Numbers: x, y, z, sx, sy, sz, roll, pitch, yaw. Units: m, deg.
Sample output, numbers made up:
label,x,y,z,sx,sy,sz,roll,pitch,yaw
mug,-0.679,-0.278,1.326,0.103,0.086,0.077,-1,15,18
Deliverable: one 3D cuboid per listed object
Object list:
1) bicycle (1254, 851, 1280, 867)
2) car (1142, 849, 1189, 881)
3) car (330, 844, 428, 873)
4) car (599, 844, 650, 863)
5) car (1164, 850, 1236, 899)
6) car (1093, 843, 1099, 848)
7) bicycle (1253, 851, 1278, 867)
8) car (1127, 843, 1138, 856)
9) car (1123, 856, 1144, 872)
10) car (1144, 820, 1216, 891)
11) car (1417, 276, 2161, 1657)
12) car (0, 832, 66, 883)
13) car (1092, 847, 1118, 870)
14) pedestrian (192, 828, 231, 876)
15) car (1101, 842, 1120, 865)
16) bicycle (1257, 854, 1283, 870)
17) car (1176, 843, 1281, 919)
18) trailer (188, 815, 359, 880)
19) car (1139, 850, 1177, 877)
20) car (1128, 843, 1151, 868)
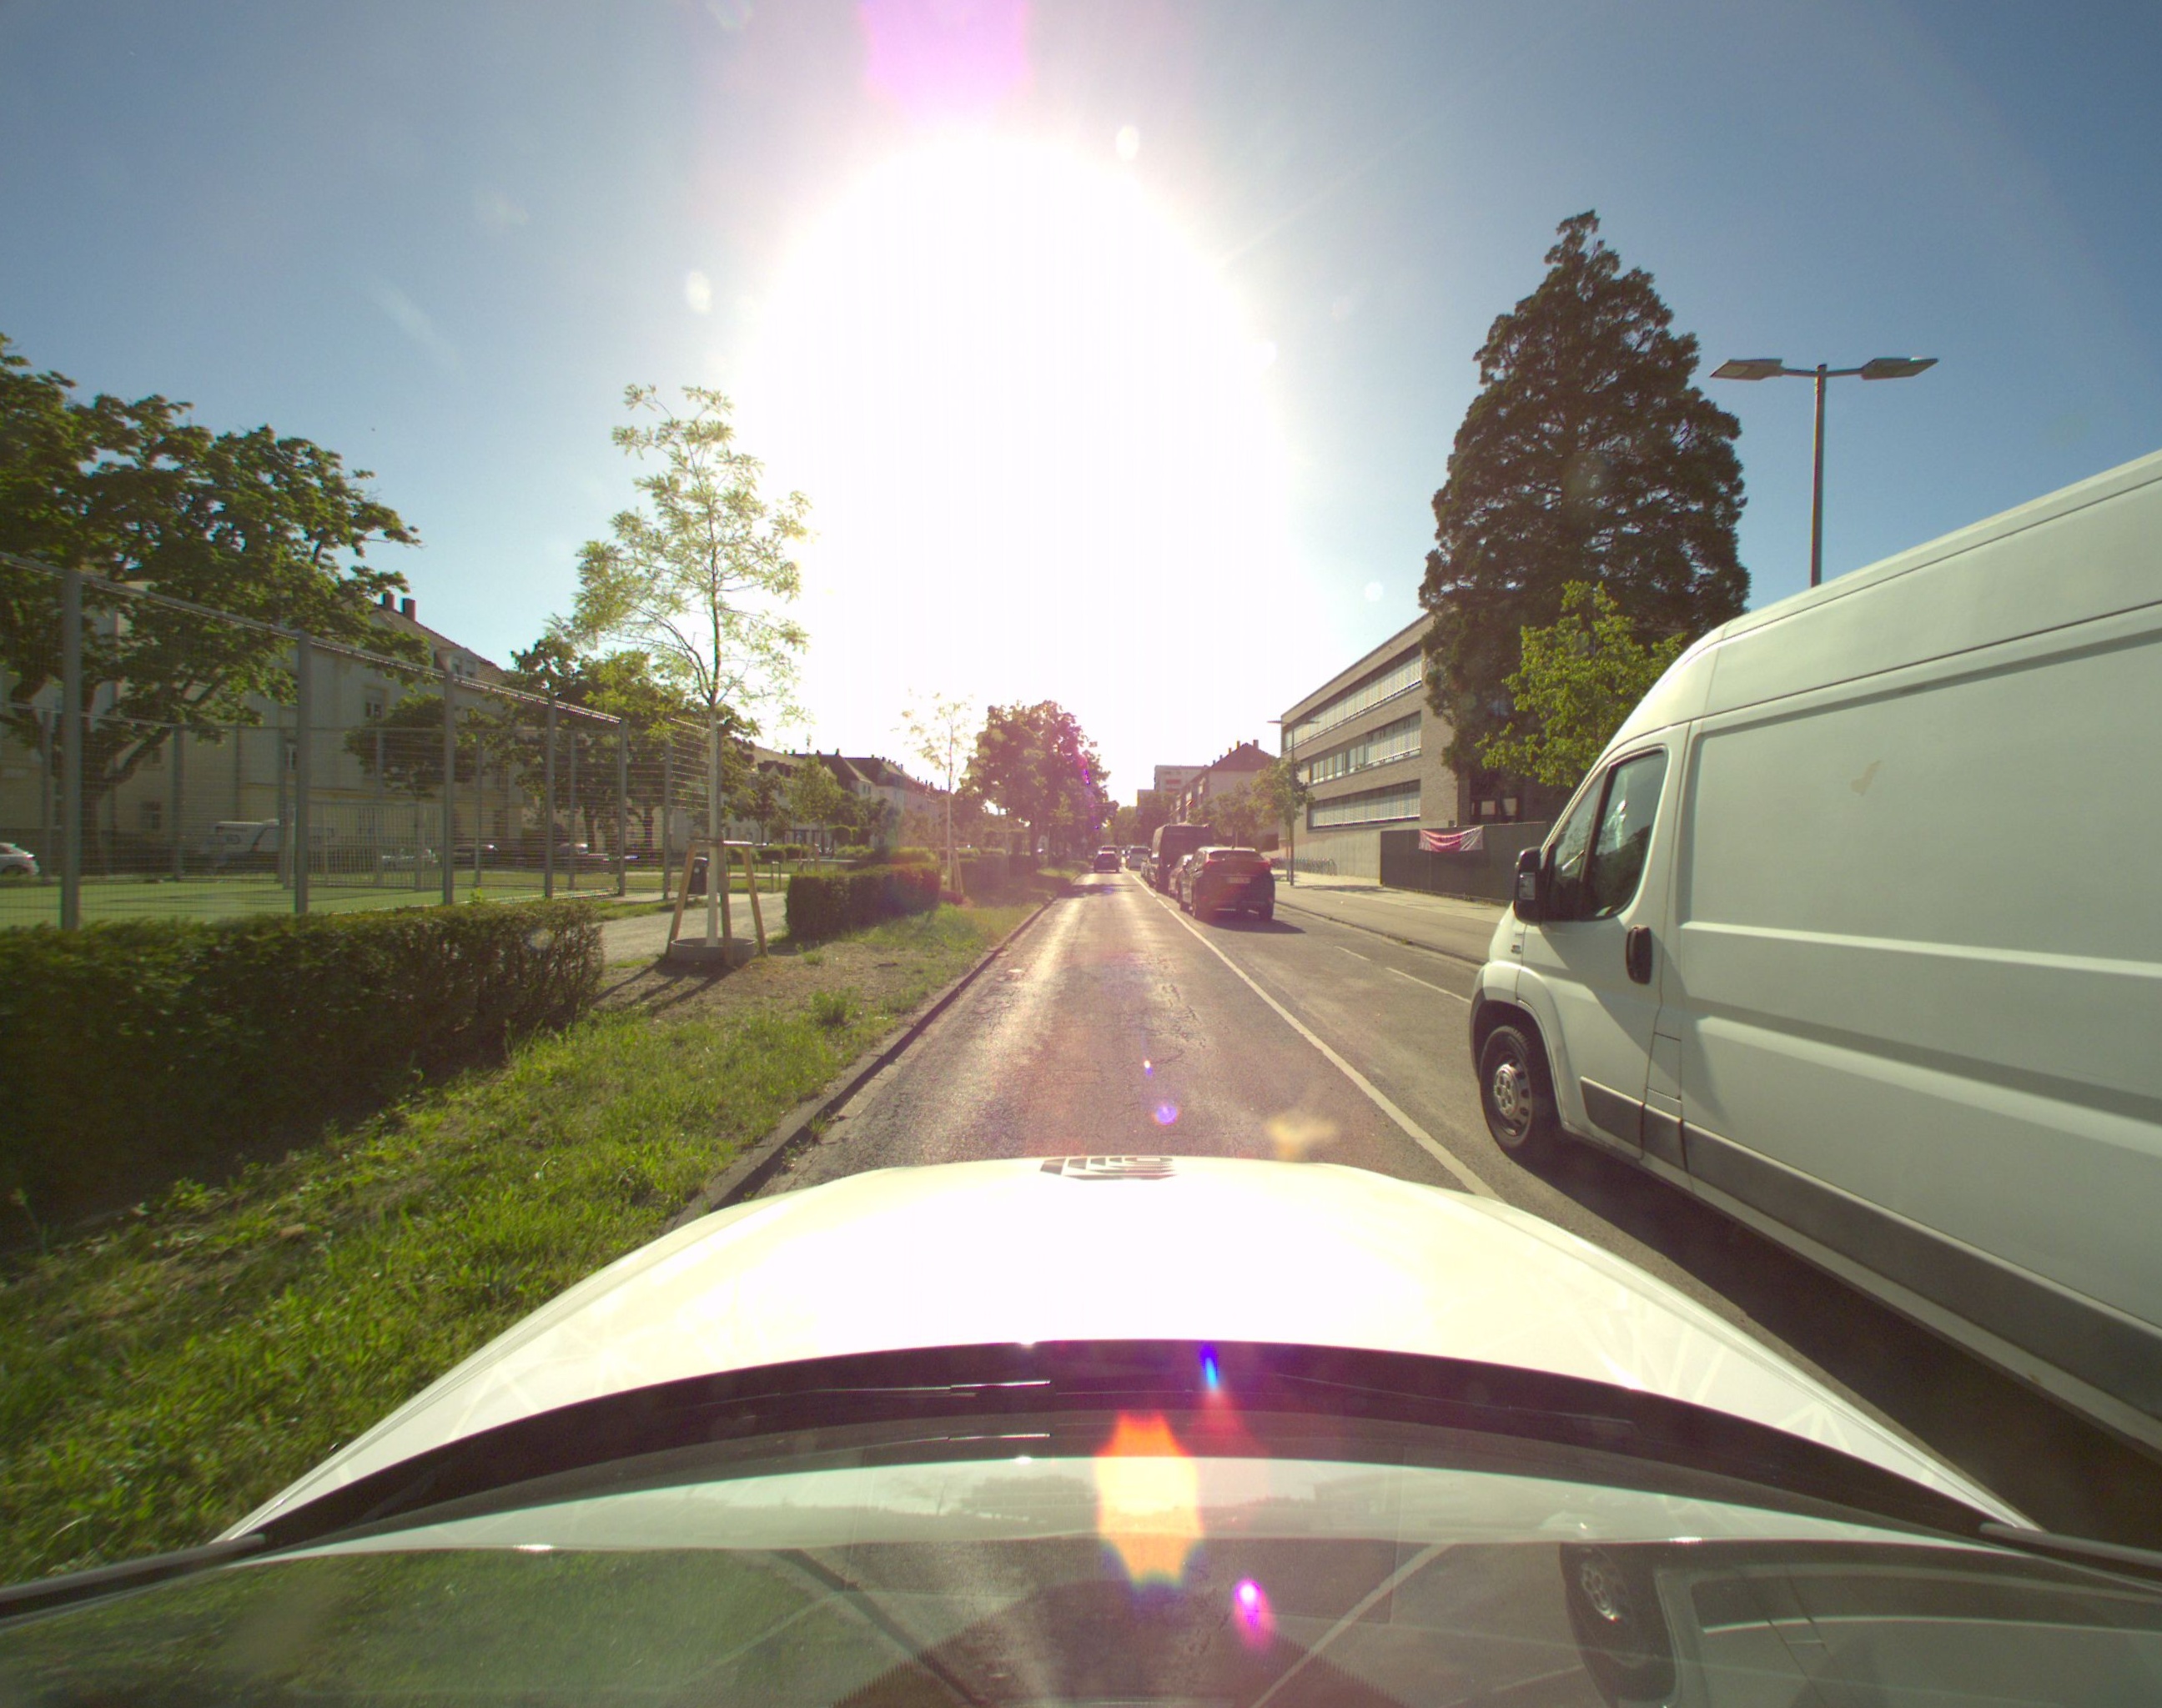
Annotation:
label,x,y,z,sx,sy,sz,roll,pitch,yaw
bicycle,13.970,0.380,61.251,1.789,1.107,0.500,-2,0,-1
car,4.035,0.501,39.538,1.986,1.420,4.638,1,0,2
car,-38.426,0.218,44.697,1.787,1.510,4.002,1,0,2
car,-37.495,-0.049,66.951,1.787,1.510,4.002,1,0,2
car,3.729,0.600,26.148,1.788,1.455,3.950,1,0,1
car,4.685,-2.671,246.919,1.787,1.510,4.002,0,0,2
bicycle,13.985,0.377,61.803,1.789,1.107,0.500,-2,0,-1
car,10.289,-0.925,164.002,1.986,2.430,4.502,3,0,2
car,4.620,0.863,72.076,1.758,1.319,4.170,2,0,2
car,3.782,0.035,32.310,2.108,2.515,6.532,1,0,0
car,3.167,0.214,2.397,2.232,2.574,5.435,1,0,2
car,-38.527,0.117,27.902,1.787,1.777,4.491,1,0,2
car,1.707,0.311,57.489,1.787,1.510,4.002,1,0,2
pedestrian,-30.103,-0.075,28.215,0.645,1.661,0.650,0,0,1
car,2.896,-0.068,80.523,1.787,2.122,4.002,1,0,2
bicycle,13.951,0.568,60.069,1.789,1.107,0.500,-2,0,-1
car,3.486,0.586,20.048,1.839,1.640,4.504,1,0,1
trailer,-38.530,-0.322,39.162,2.335,2.870,5.804,1,0,1
car,4.267,0.492,45.621,1.788,1.420,4.659,1,0,1
car,4.687,0.101,65.694,1.786,1.855,4.418,1,1,4
